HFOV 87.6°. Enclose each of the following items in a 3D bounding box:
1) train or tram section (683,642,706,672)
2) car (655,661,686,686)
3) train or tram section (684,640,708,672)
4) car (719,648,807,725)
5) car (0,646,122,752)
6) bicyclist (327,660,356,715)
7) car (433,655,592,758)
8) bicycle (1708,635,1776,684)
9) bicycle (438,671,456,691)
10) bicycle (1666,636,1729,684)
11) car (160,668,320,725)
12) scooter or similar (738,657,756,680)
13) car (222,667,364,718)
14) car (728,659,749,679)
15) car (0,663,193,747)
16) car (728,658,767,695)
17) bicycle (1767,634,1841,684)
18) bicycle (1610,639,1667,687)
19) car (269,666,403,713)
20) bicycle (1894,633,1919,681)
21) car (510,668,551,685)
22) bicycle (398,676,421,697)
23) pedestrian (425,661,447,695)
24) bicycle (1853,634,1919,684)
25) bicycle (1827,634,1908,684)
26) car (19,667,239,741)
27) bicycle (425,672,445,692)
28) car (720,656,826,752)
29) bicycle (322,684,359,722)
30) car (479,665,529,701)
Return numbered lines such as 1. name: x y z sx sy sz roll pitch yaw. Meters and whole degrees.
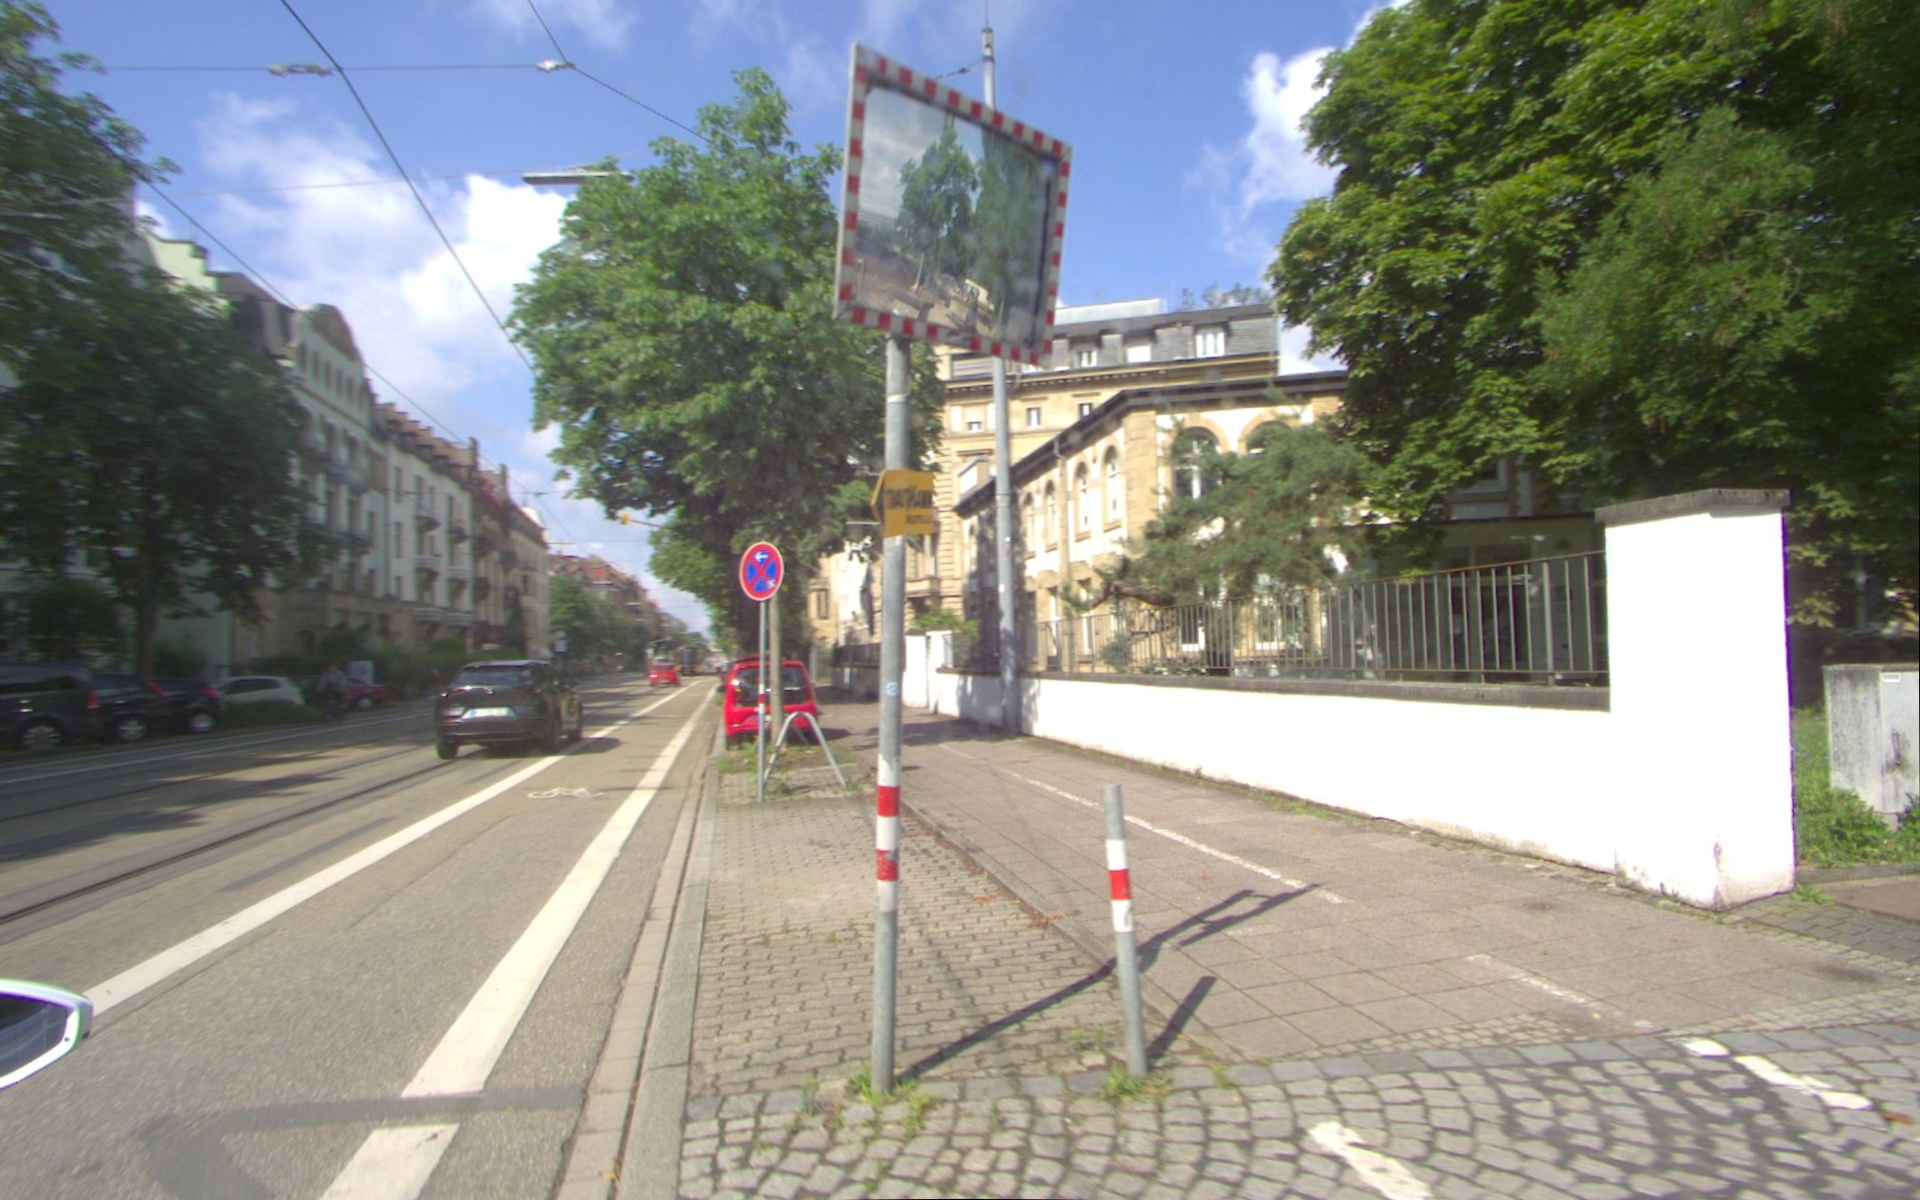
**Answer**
1. train or tram section: -33.359 7.190 125.764 2.613 3.570 8.491 -1 -3 -16
2. car: -18.595 4.717 64.449 1.758 1.511 4.879 -1 -3 -15
3. train or tram section: -31.060 6.623 117.600 2.613 3.570 8.491 -1 -3 -16
4. car: -5.060 2.128 25.335 1.848 1.697 4.279 -2 -3 -15
5. car: -19.619 1.984 19.164 1.890 1.978 5.143 -4 -3 31
6. bicyclist: -18.379 2.597 29.772 0.633 1.596 0.740 -1 -3 -23
7. car: -7.592 1.732 17.410 1.763 1.531 4.348 1 -3 -14
8. bicycle: 16.861 1.266 21.625 0.419 1.000 1.820 0 -2 13
9. bicycle: -27.094 4.270 52.902 0.377 0.971 1.810 1 -3 -11
10. bicycle: 16.120 1.284 21.924 0.419 1.000 1.820 0 -2 13
11. car: -22.882 3.042 31.949 1.674 1.502 3.788 -5 -3 31
12. scooter or similar: -12.674 4.095 59.572 0.437 1.316 1.171 -3 0 -43
13. car: -23.395 3.232 35.224 1.678 1.502 3.781 -5 -3 37
14. car: -18.434 5.756 83.420 1.599 1.514 3.847 -2 -3 -13
15. car: -20.072 2.351 22.629 1.717 1.612 3.979 -5 -3 32
16. car: -10.225 3.656 48.005 1.671 1.610 4.201 -2 -3 -14
17. bicycle: 17.928 1.230 21.313 0.419 1.000 1.820 0 -2 13
18. bicycle: 14.925 1.372 22.062 0.419 1.000 1.820 0 -2 13
19. car: -23.829 3.403 38.348 1.822 1.502 3.947 -5 -3 34
20. bicycle: 20.185 1.188 20.709 0.419 1.000 1.820 0 -2 13
21. car: -39.746 7.096 92.702 3.186 1.531 1.679 1 -3 -10
22. bicycle: -25.847 4.052 47.000 0.377 0.971 1.810 1 -3 -11
23. pedestrian: -24.781 3.684 47.363 0.669 1.587 0.882 1 -3 -11
24. bicycle: 19.476 1.208 20.894 0.419 1.000 1.820 0 -2 13
25. bicycle: 18.944 1.208 20.938 0.419 1.000 1.820 0 -2 13
26. car: -21.001 2.597 25.463 1.719 1.502 3.976 -5 -3 34
27. bicycle: -26.657 4.167 50.860 0.377 0.971 1.810 1 -3 -11
28. car: -3.510 1.838 18.363 1.576 1.446 3.595 -3 -3 -15
29. bicycle: -18.331 3.022 29.649 0.647 1.053 1.996 -1 -4 -24
30. car: -24.937 4.487 54.901 1.758 1.784 4.879 -1 -3 -15
